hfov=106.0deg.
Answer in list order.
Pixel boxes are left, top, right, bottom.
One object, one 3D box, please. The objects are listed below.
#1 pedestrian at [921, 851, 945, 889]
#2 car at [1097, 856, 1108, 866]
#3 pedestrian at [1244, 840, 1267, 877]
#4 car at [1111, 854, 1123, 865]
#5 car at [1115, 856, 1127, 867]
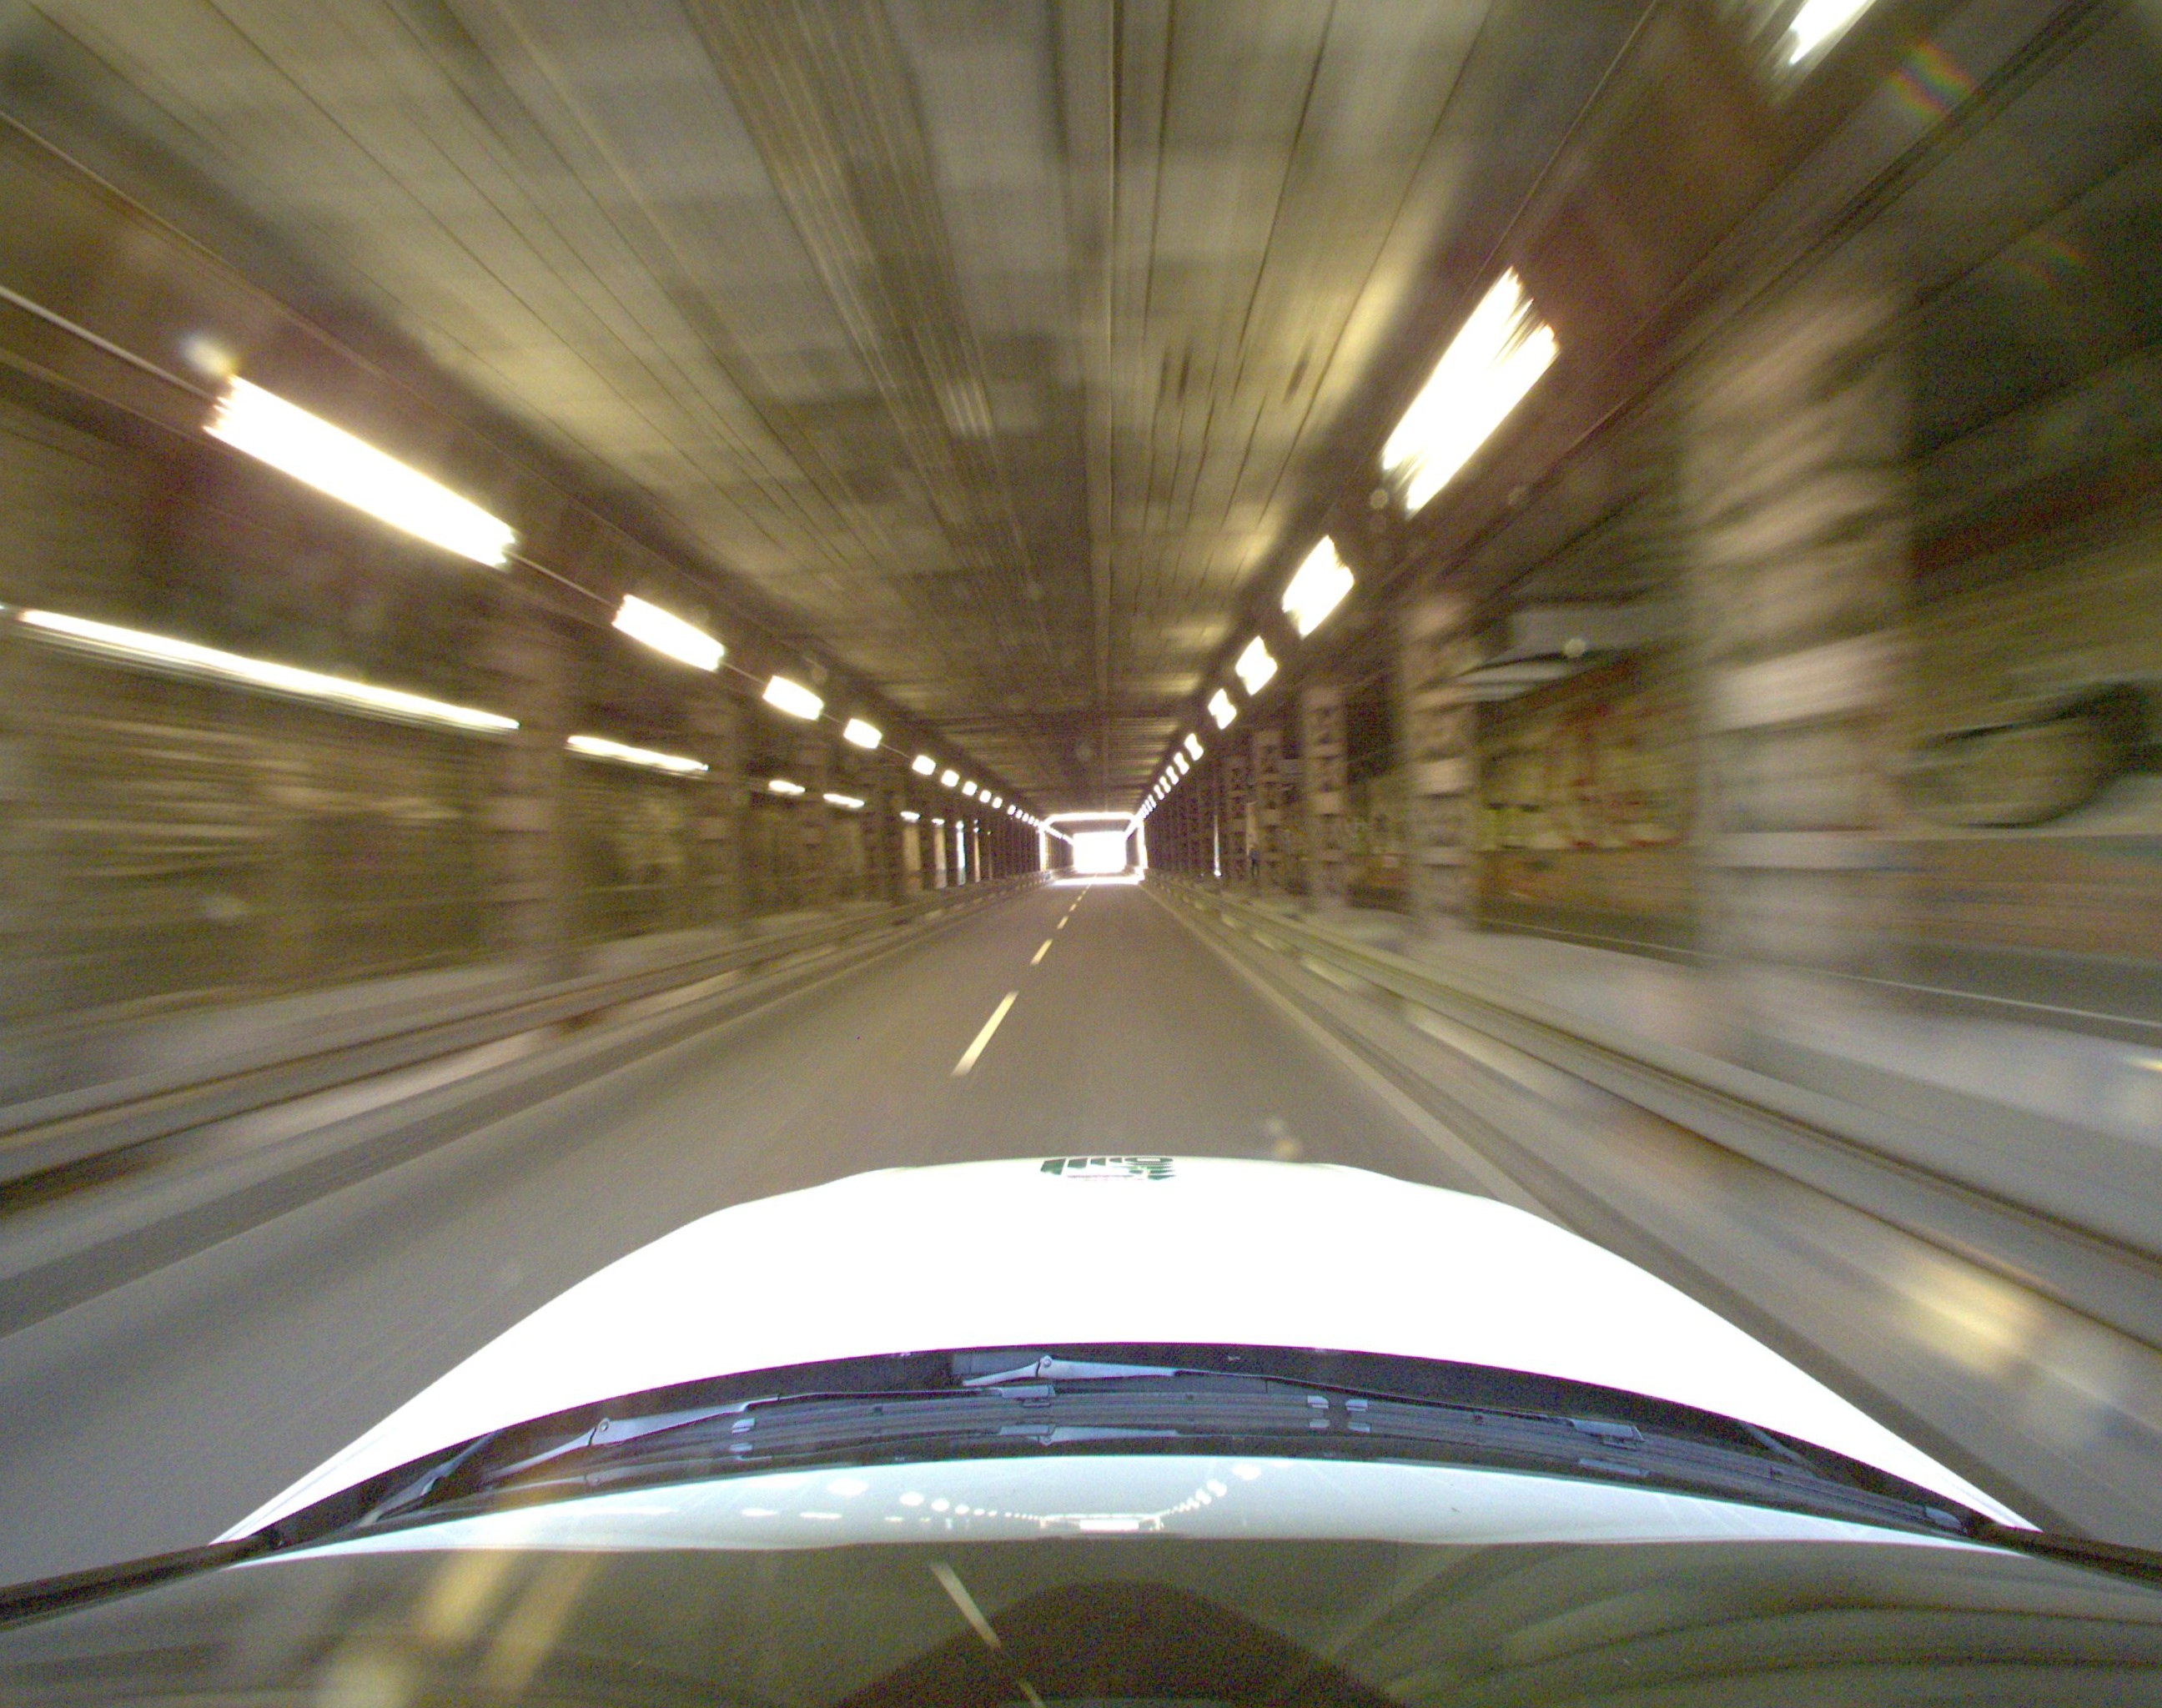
[{"bbox_3d":[-8.302,0.918,45.737,0.955,2.056,1.356,-2,-2,2],"label":"pedestrian"},{"bbox_3d":[3.935,1.313,150.615,1.986,1.784,4.002,-2,0,2],"label":"car"},{"bbox_3d":[8.272,0.216,38.673,0.797,1.702,1.111,-3,-1,1],"label":"pedestrian"},{"bbox_3d":[6.378,1.025,144.736,1.986,1.784,4.002,-2,0,2],"label":"car"},{"bbox_3d":[6.590,1.188,134.743,1.986,1.784,4.002,-2,0,2],"label":"car"}]
